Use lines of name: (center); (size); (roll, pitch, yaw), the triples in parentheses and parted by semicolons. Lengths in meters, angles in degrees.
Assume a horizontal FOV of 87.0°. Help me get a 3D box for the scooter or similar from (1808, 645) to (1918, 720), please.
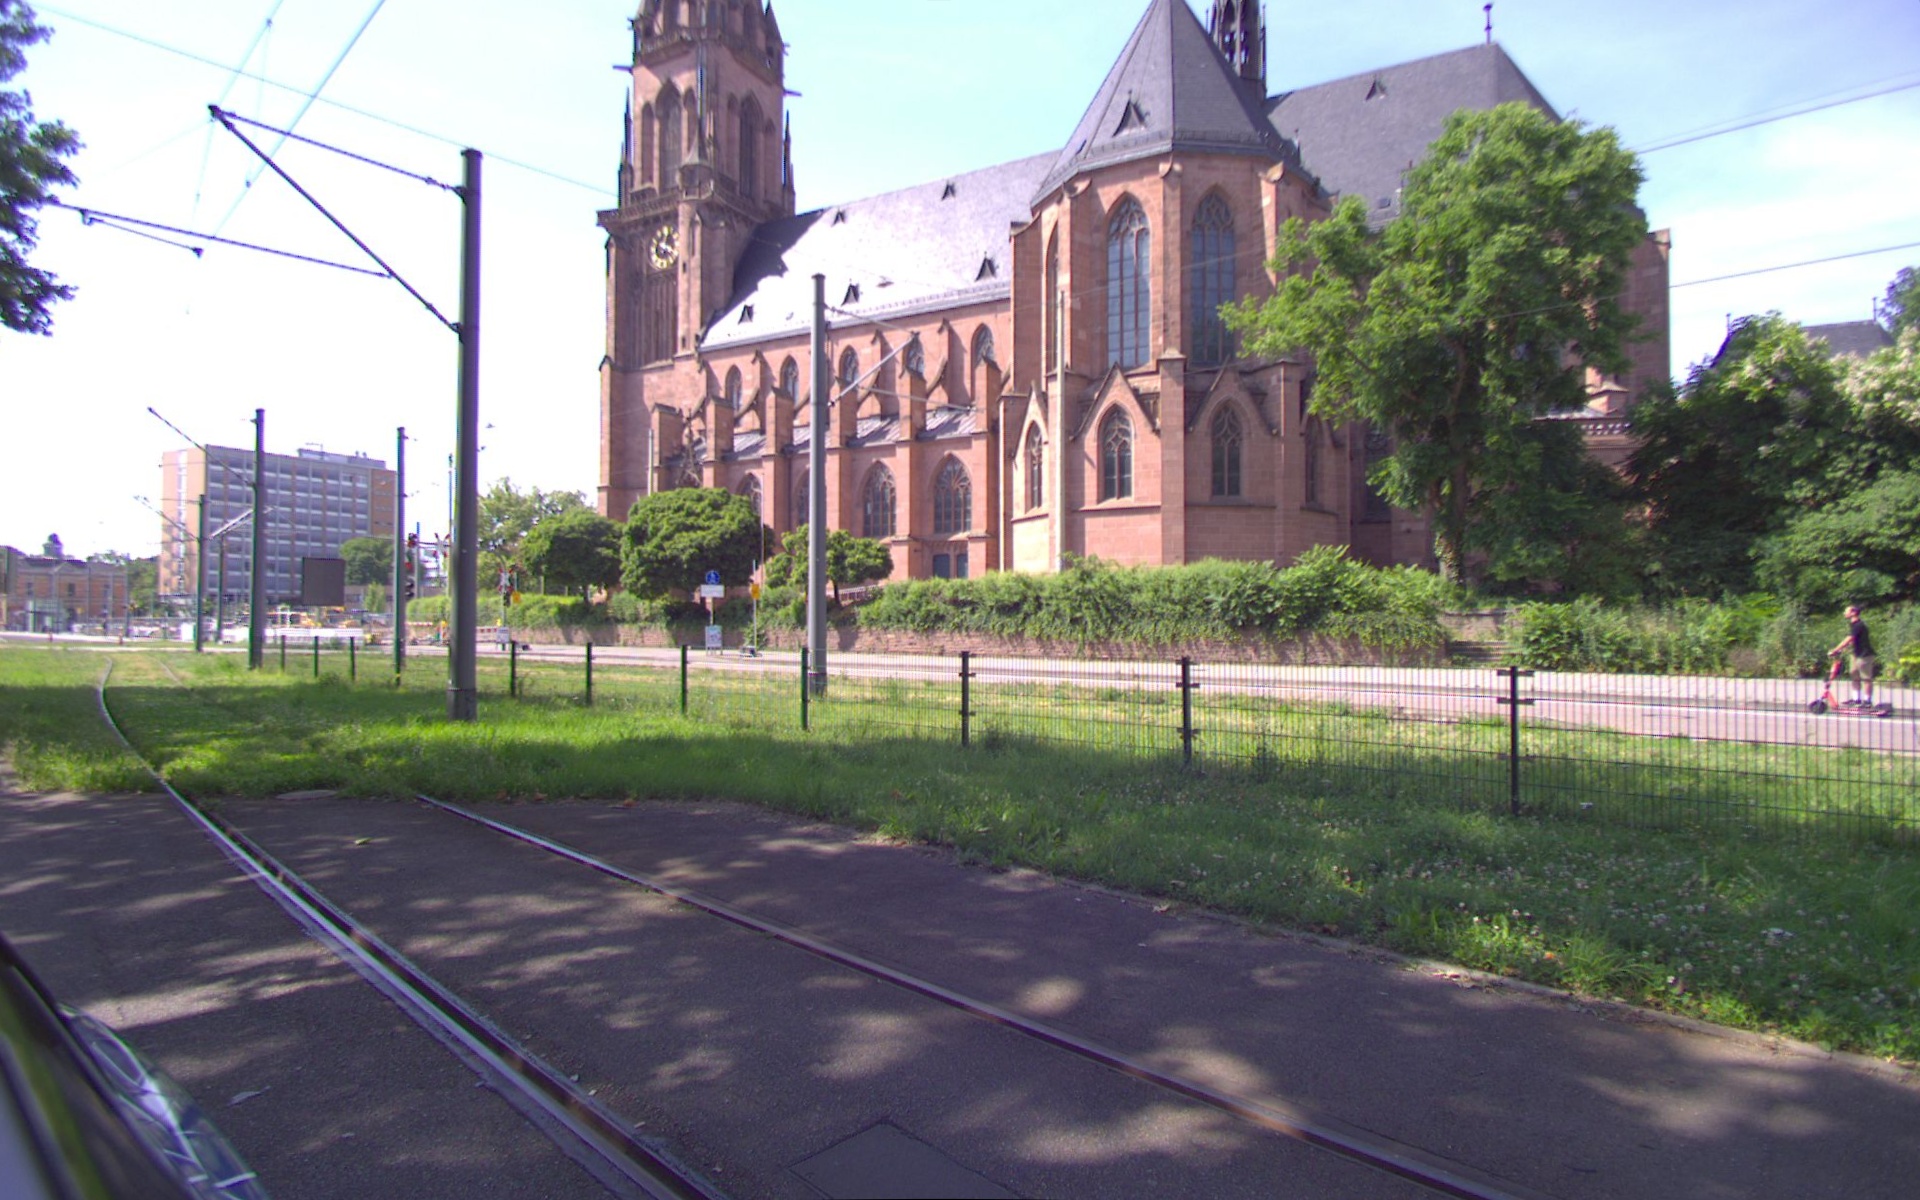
scooter or similar: (15.579, 1.395, 17.485); (0.646, 1.213, 1.274); (1, -2, -34)

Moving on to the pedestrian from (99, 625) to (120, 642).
pedestrian: (-93.508, 3.675, 111.254); (1.420, 1.820, 1.409); (-1, -2, 37)

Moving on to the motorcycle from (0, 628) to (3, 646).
motorcycle: (-75.486, 2.829, 76.948); (3.878, 1.349, 1.246); (1, -2, -44)

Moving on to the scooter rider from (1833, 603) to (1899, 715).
scooter rider: (15.610, 1.004, 17.446); (0.653, 1.881, 0.671); (1, -2, -34)

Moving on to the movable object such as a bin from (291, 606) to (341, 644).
movable object such as a bin: (-67.519, 2.585, 106.188); (2.904, 3.911, 3.327); (0, -2, 8)
